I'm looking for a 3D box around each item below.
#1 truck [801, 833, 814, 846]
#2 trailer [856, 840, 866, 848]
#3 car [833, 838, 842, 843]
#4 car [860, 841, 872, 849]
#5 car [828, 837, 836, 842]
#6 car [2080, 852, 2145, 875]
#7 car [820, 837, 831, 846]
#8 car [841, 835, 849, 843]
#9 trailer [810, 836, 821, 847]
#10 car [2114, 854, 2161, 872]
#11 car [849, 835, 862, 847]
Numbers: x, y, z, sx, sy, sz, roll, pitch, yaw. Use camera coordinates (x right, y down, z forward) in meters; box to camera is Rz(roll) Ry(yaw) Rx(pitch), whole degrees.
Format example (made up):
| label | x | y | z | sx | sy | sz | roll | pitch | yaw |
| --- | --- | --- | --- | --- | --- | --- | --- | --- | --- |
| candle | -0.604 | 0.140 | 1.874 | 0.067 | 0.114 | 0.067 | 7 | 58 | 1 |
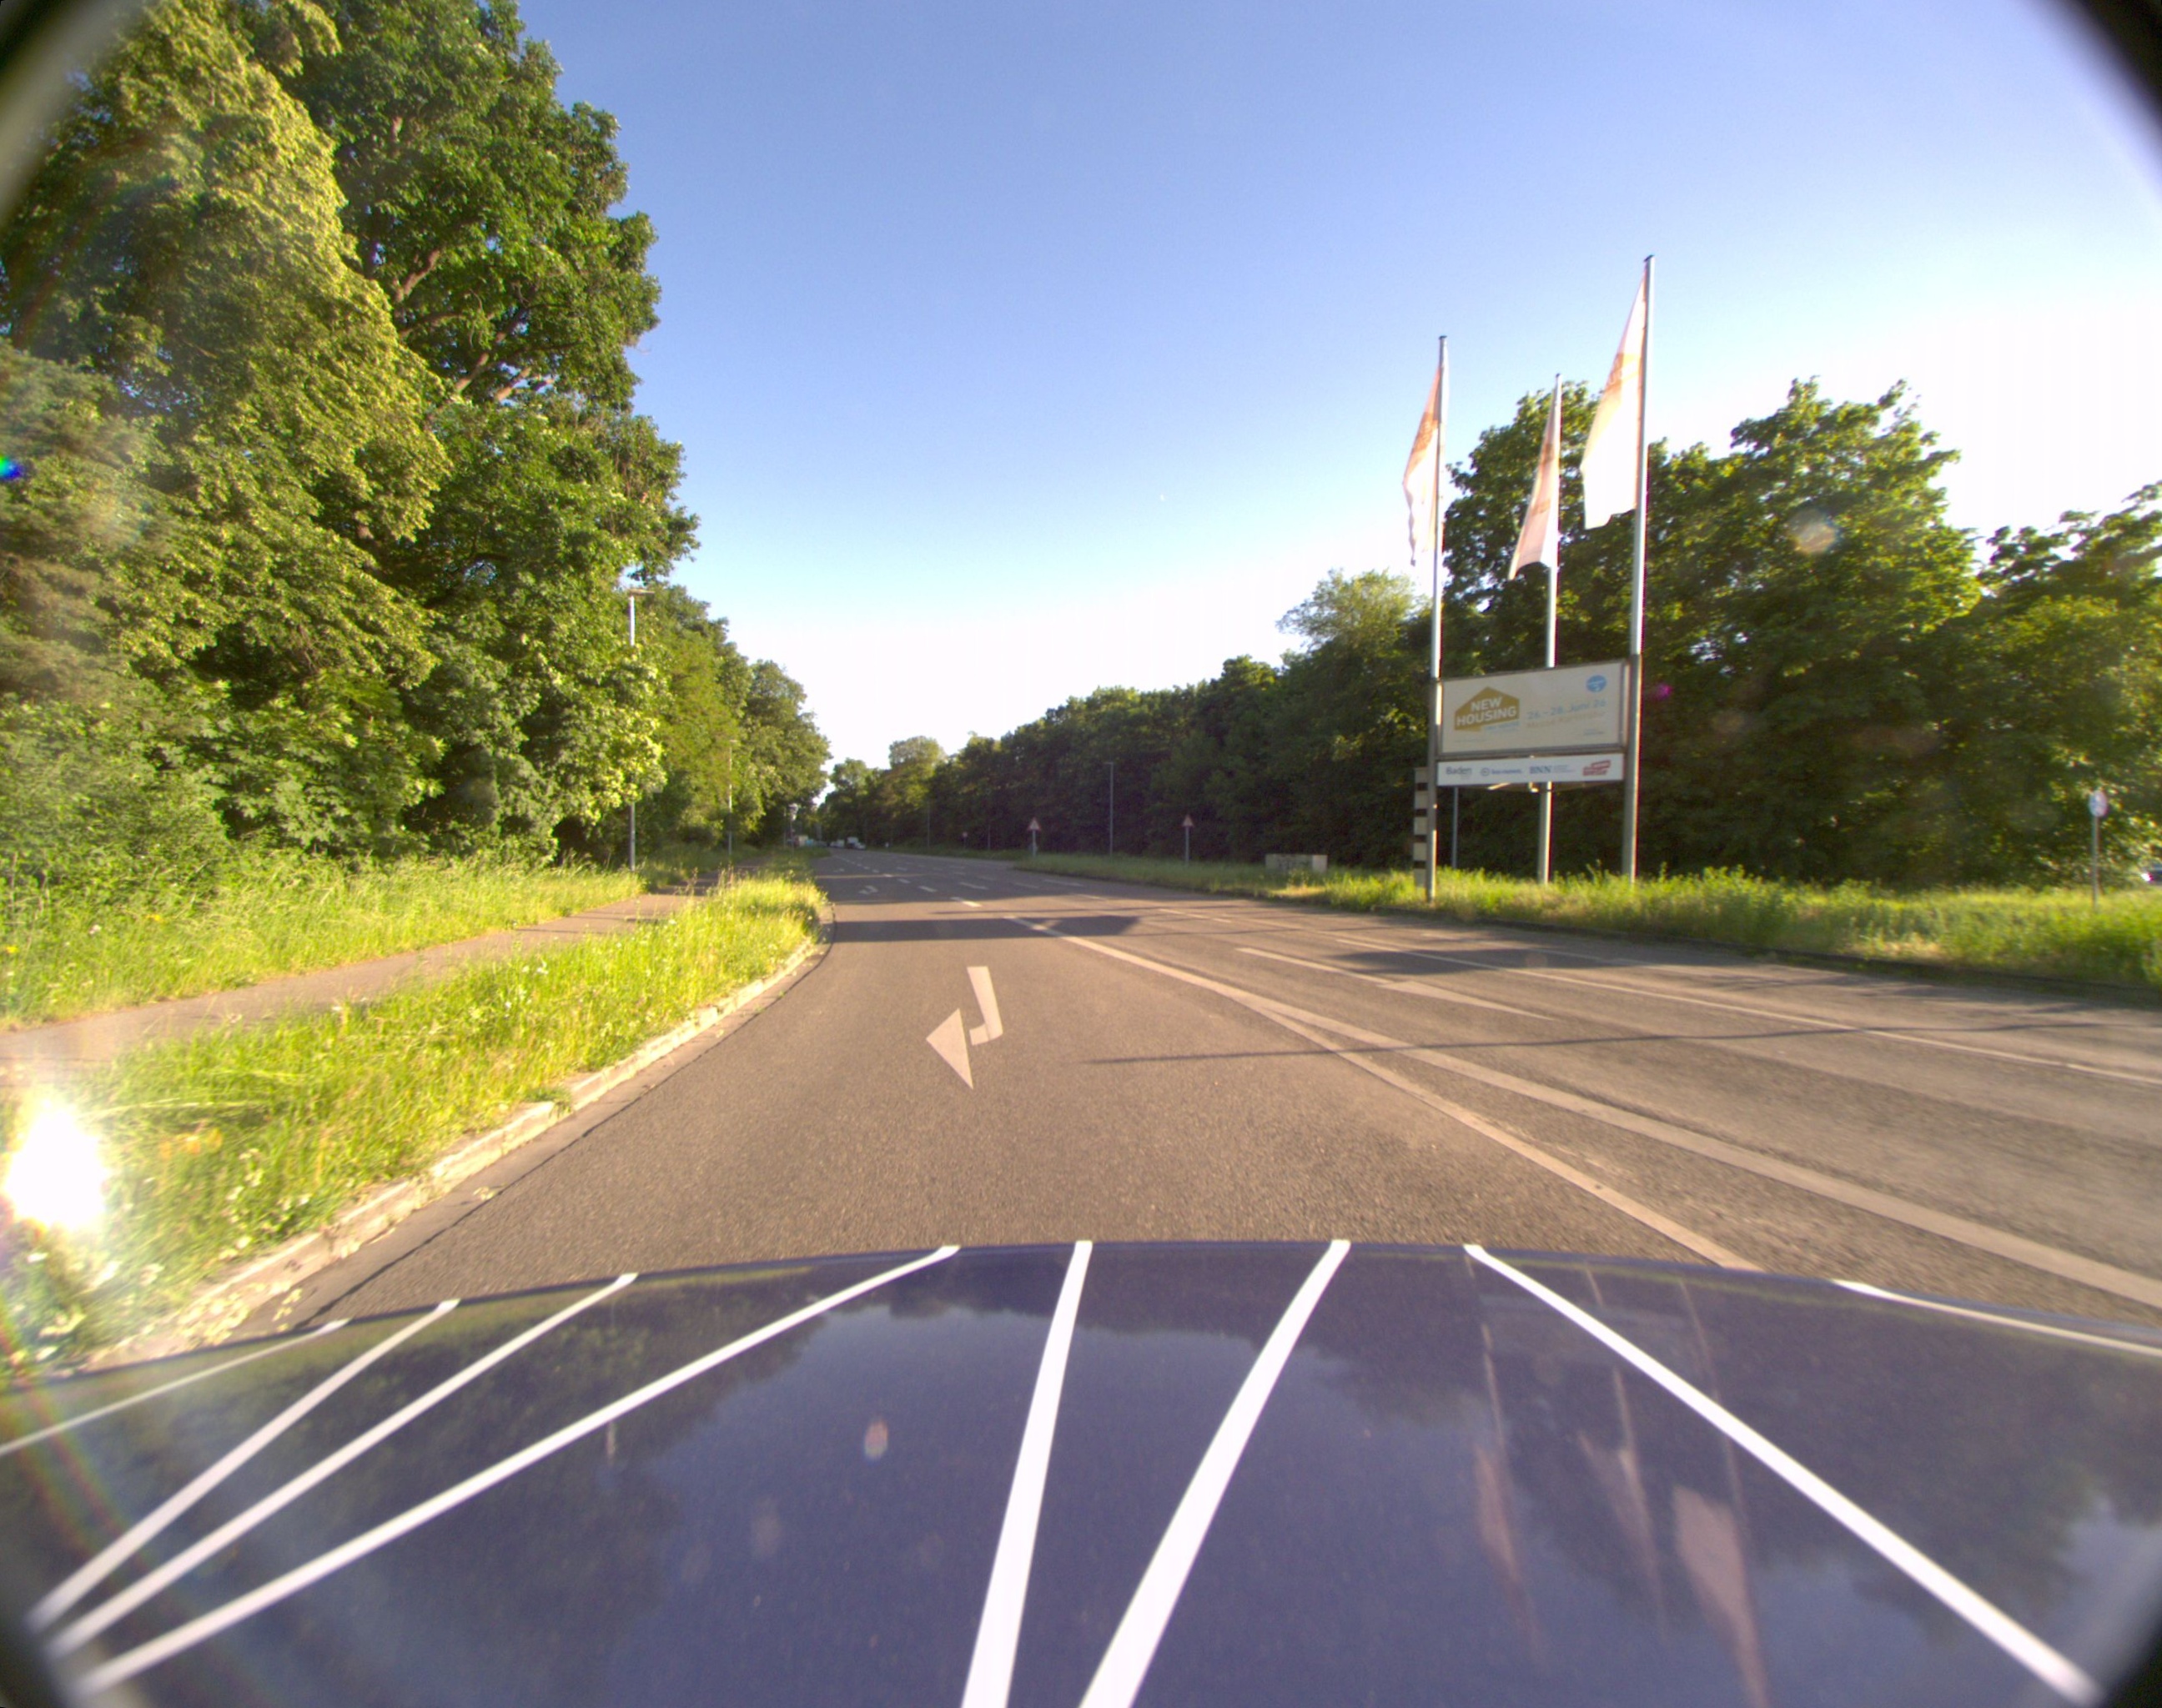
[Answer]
| label | x | y | z | sx | sy | sz | roll | pitch | yaw |
| --- | --- | --- | --- | --- | --- | --- | --- | --- | --- |
| truck | -62.013 | -3.407 | 172.256 | 2.394 | 2.856 | 5.586 | -3 | 3 | -24 |
| trailer | -48.934 | -2.180 | 168.923 | 1.810 | 1.719 | 3.639 | 1 | 1 | -24 |
| car | -70.860 | -3.972 | 221.061 | 1.810 | 1.496 | 3.904 | 1 | 1 | -24 |
| car | -46.627 | -1.971 | 164.489 | 1.918 | 1.456 | 4.003 | 1 | 1 | -24 |
| car | -77.173 | -4.412 | 235.568 | 1.810 | 1.496 | 3.904 | 1 | 1 | -24 |
| car | 67.657 | 0.583 | 49.900 | 1.848 | 1.381 | 3.807 | 2 | 2 | 44 |
| car | -59.188 | -2.964 | 175.970 | 2.003 | 2.002 | 3.991 | 0 | 1 | -26 |
| car | -65.182 | -4.055 | 209.715 | 1.695 | 2.089 | 4.622 | 1 | 1 | -24 |
| trailer | -54.593 | -2.623 | 156.069 | 1.873 | 2.166 | 4.119 | -2 | 2 | -24 |
| car | 89.591 | 0.758 | 64.198 | 1.768 | 1.444 | 4.008 | 1 | 2 | 39 |
| car | -53.465 | -3.098 | 180.118 | 2.465 | 2.831 | 4.788 | 1 | 1 | -24 |
